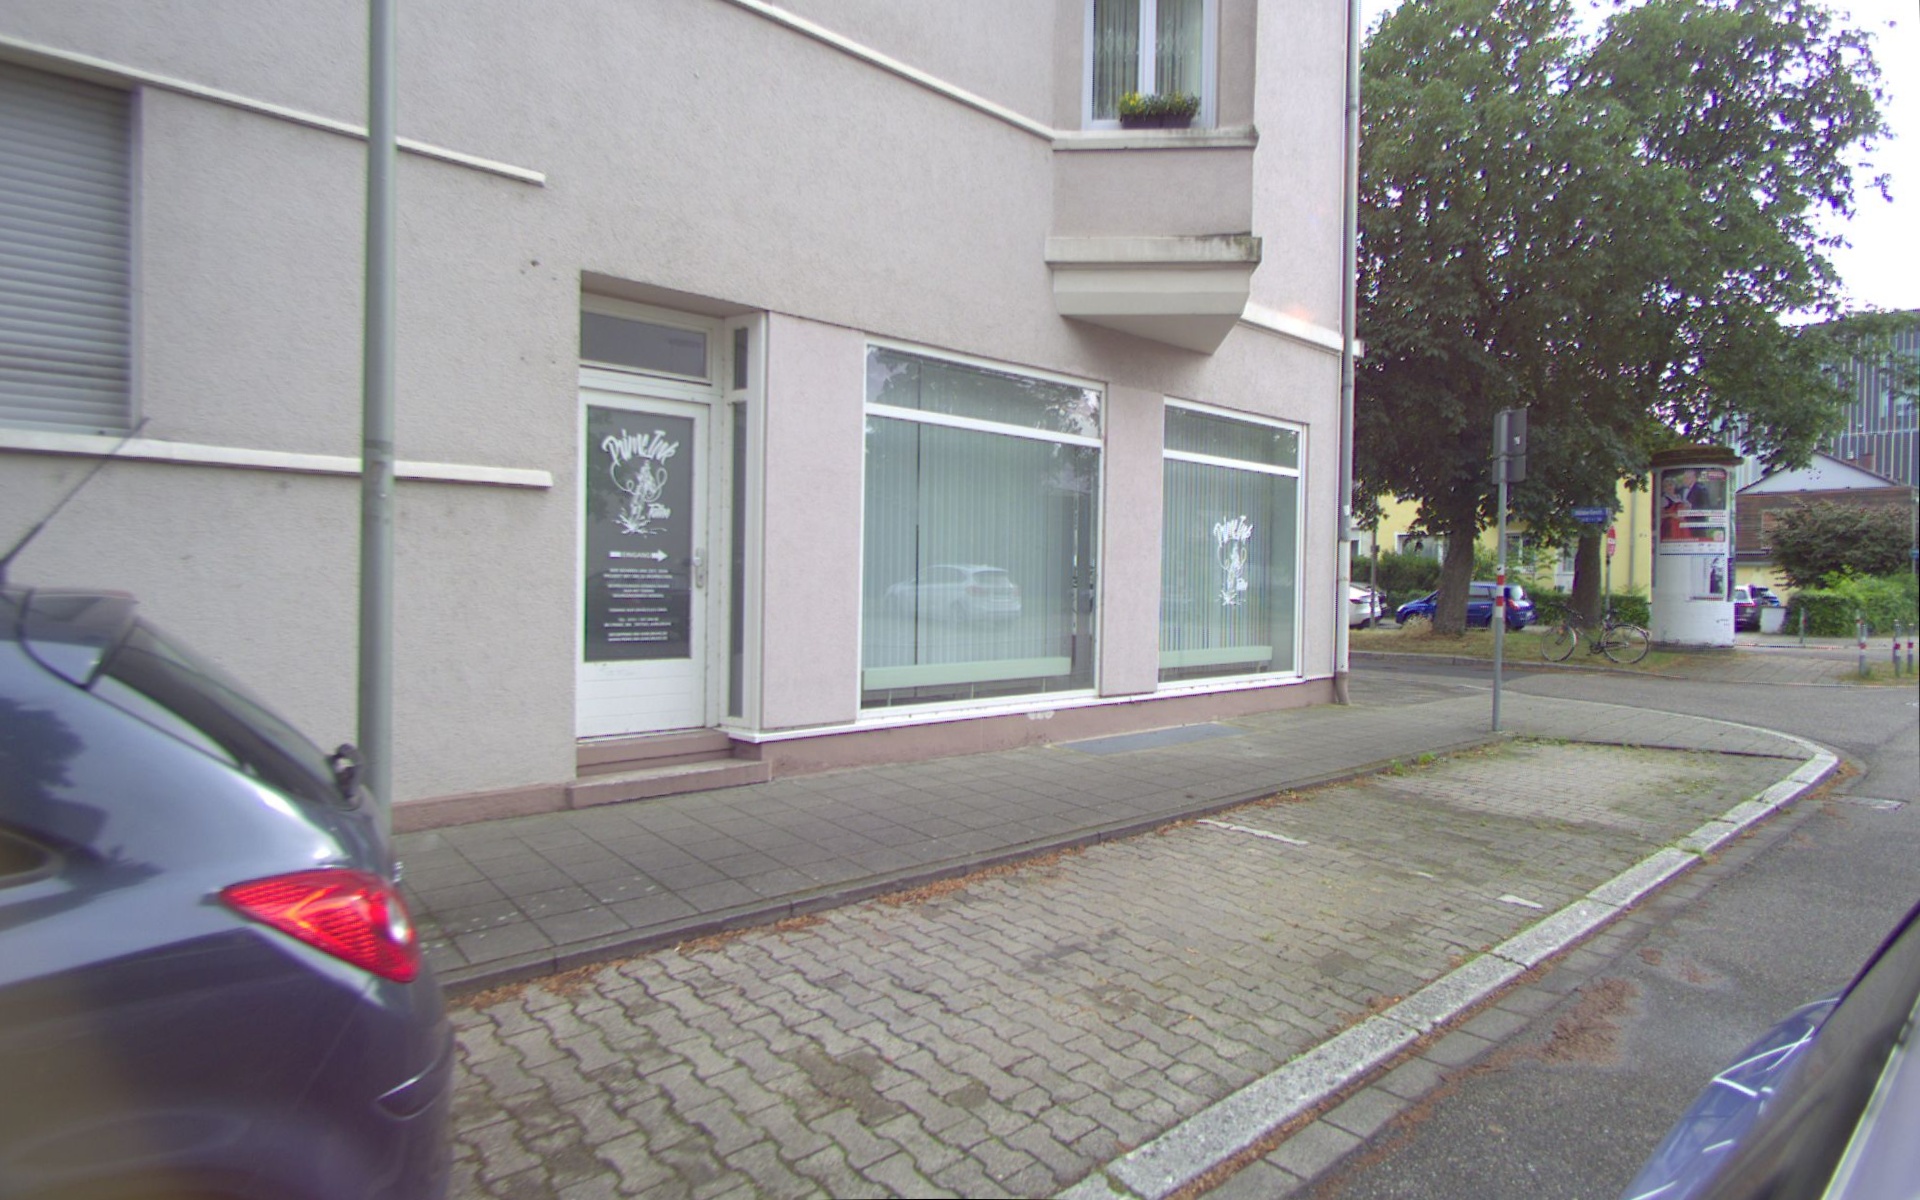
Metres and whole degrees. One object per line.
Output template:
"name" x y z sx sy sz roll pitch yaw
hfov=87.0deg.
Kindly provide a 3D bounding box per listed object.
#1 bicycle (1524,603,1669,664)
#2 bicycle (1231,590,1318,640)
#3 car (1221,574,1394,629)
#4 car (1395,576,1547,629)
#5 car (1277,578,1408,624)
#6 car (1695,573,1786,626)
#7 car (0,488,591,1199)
"bicycle" 11.532 0.576 18.394 2.174 0.997 0.504 1 3 43
"bicycle" 7.318 0.328 23.621 0.657 1.080 1.881 0 1 -43
"car" 10.876 0.002 31.947 4.870 1.586 1.872 2 2 45
"car" 16.788 0.017 33.404 1.676 1.585 4.204 -2 3 -41
"car" 13.896 -0.023 36.890 4.155 1.518 1.693 1 4 45
"car" 25.460 -0.052 32.962 3.935 1.630 1.838 -1 2 -45
"car" -2.631 0.627 1.065 3.867 1.508 1.760 -1 2 -40
